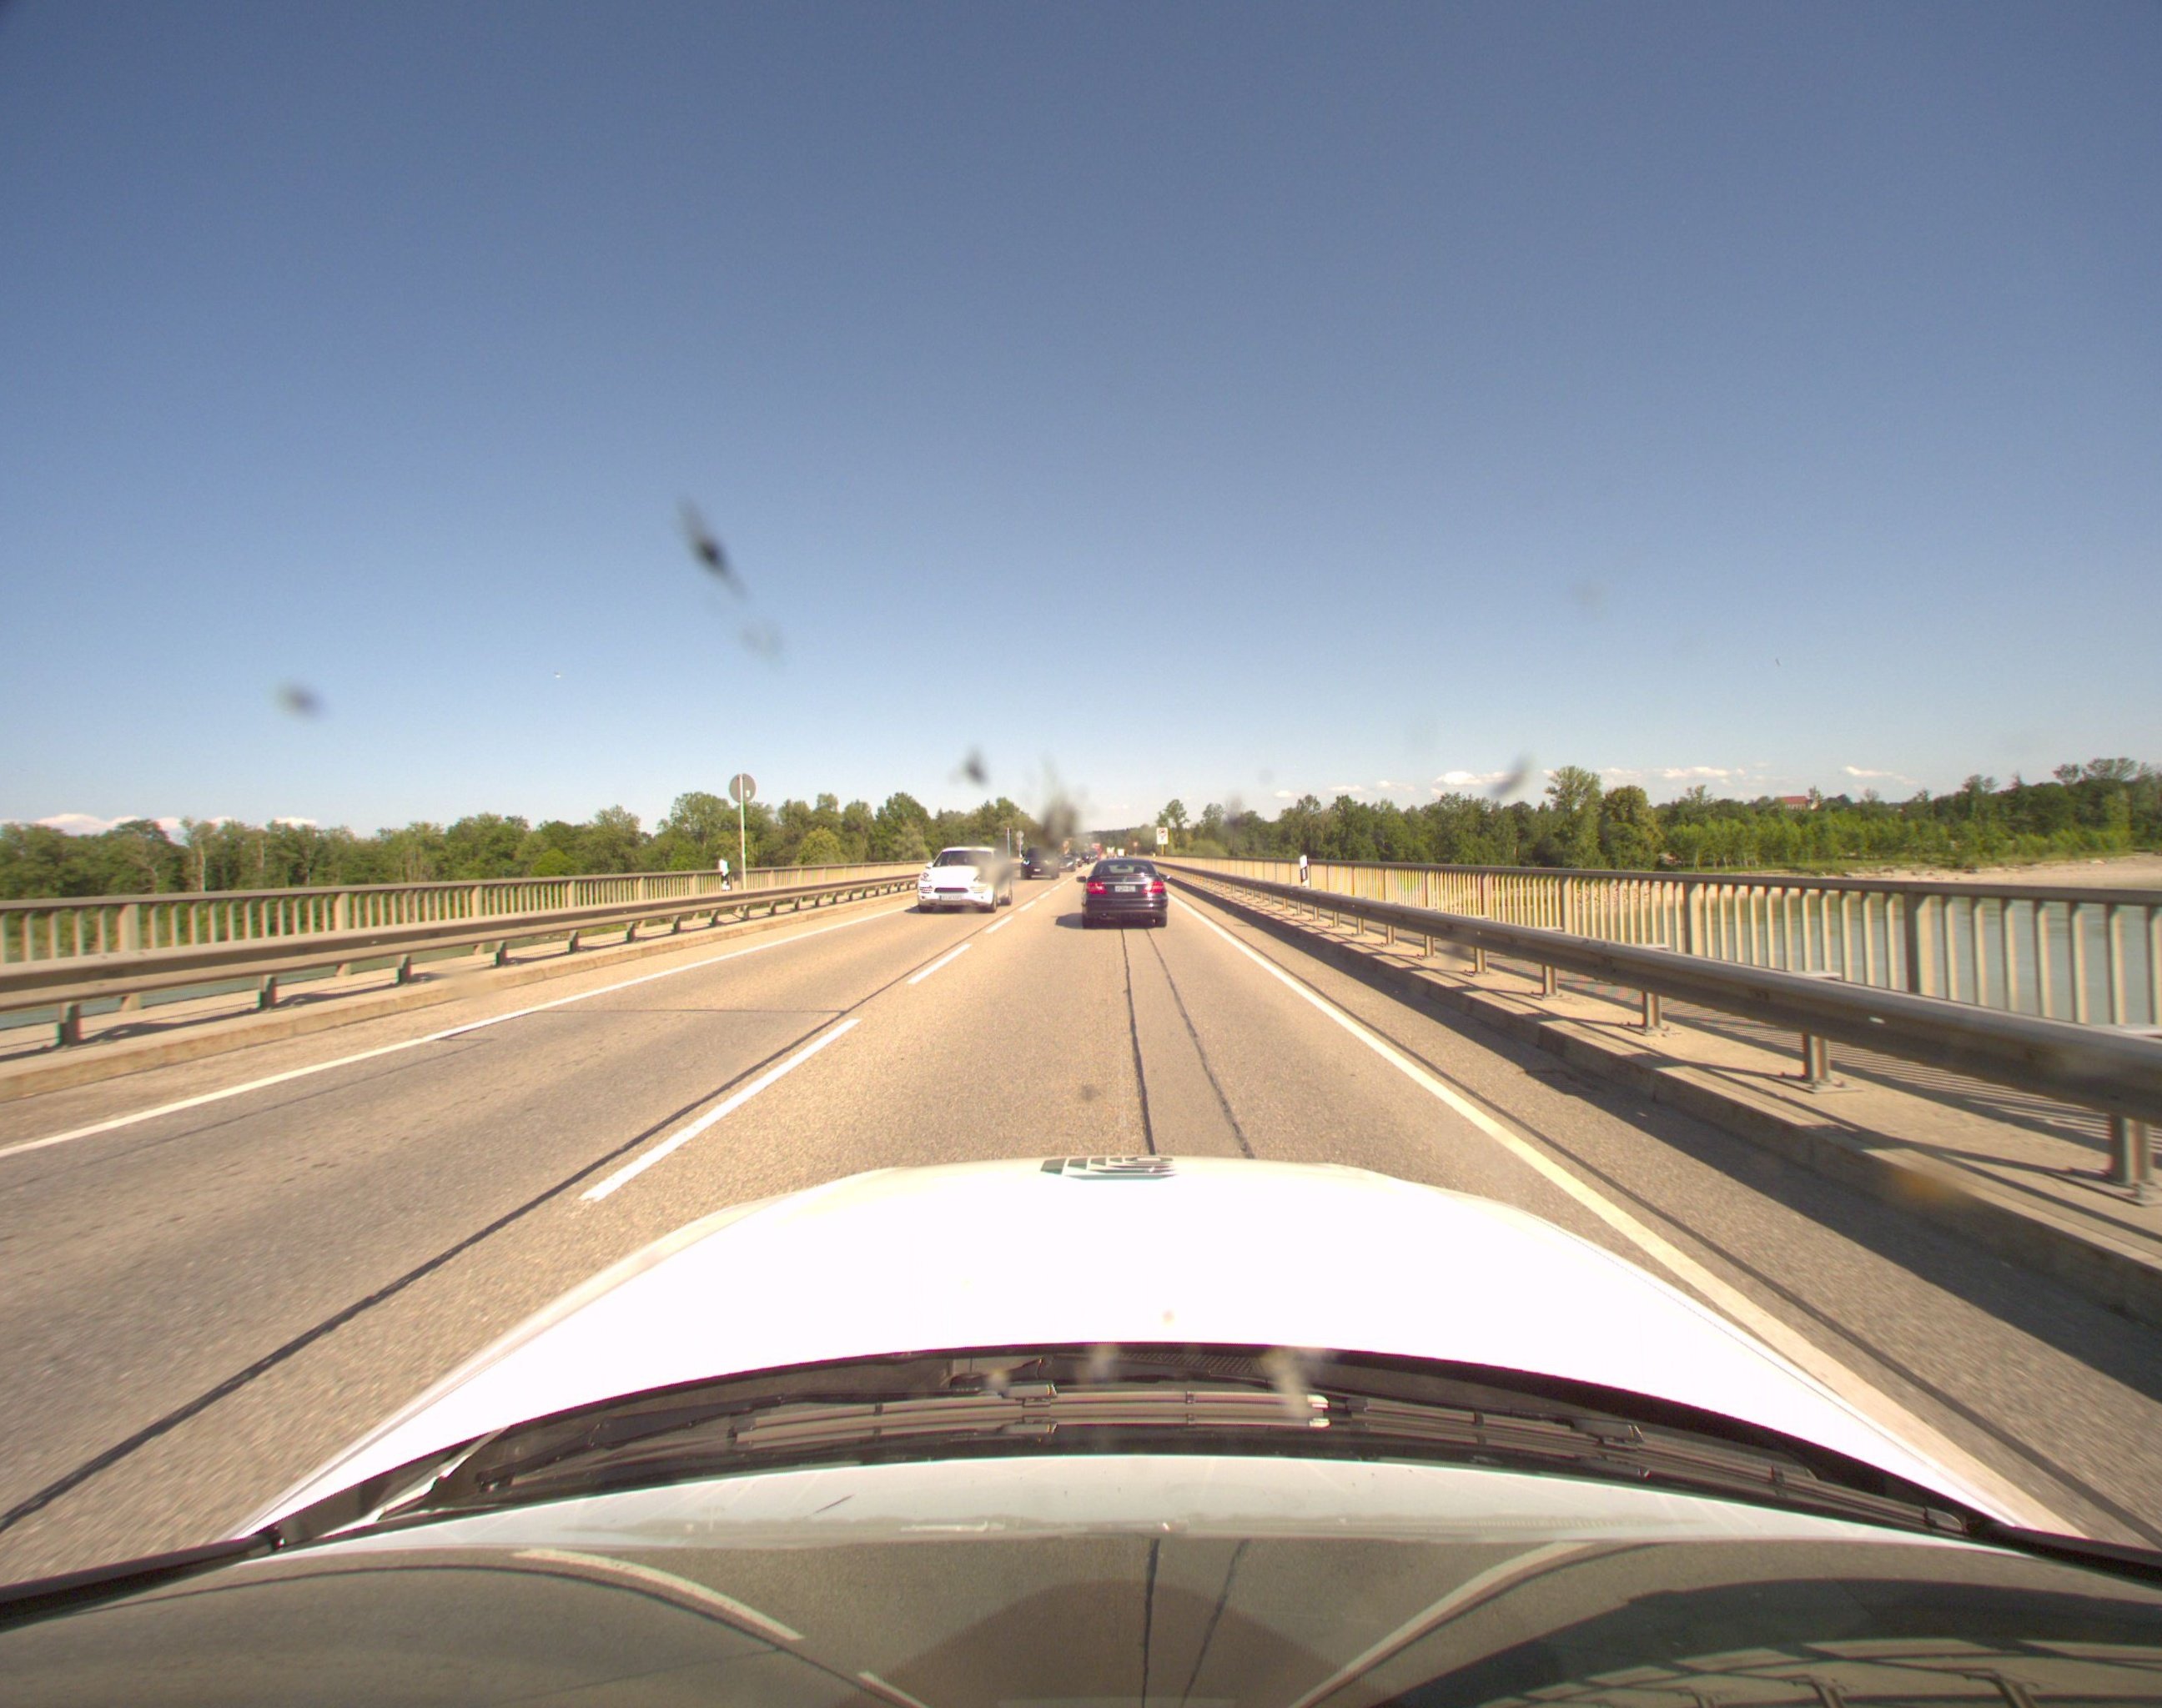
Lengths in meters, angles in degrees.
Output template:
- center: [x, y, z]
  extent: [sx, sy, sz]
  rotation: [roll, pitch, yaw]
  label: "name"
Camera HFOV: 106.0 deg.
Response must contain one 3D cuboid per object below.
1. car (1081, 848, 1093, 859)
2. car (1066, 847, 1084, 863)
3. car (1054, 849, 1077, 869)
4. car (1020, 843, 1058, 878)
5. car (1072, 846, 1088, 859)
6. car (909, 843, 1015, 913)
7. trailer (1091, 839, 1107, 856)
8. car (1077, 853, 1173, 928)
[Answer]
- center: [0.925, -0.097, 127.533]
  extent: [1.801, 1.577, 4.198]
  rotation: [-1, 0, -1]
  label: "car"
- center: [-0.647, 0.089, 88.055]
  extent: [1.848, 1.722, 4.566]
  rotation: [-1, 0, 1]
  label: "car"
- center: [-1.260, 0.389, 65.402]
  extent: [1.760, 1.447, 4.454]
  rotation: [1, 1, -1]
  label: "car"
- center: [-2.375, 0.329, 47.145]
  extent: [2.031, 1.873, 5.067]
  rotation: [1, 1, -1]
  label: "car"
- center: [-0.152, -0.191, 110.906]
  extent: [2.048, 1.652, 4.719]
  rotation: [1, 1, -1]
  label: "car"
- center: [-3.055, 0.560, 21.896]
  extent: [1.976, 1.651, 4.600]
  rotation: [-1, 0, 2]
  label: "car"
- center: [4.583, -1.612, 208.586]
  extent: [2.901, 4.302, 14.287]
  rotation: [-1, 0, -3]
  label: "trailer"
- center: [0.911, 0.695, 17.417]
  extent: [1.786, 1.376, 4.002]
  rotation: [-1, 0, 2]
  label: "car"
